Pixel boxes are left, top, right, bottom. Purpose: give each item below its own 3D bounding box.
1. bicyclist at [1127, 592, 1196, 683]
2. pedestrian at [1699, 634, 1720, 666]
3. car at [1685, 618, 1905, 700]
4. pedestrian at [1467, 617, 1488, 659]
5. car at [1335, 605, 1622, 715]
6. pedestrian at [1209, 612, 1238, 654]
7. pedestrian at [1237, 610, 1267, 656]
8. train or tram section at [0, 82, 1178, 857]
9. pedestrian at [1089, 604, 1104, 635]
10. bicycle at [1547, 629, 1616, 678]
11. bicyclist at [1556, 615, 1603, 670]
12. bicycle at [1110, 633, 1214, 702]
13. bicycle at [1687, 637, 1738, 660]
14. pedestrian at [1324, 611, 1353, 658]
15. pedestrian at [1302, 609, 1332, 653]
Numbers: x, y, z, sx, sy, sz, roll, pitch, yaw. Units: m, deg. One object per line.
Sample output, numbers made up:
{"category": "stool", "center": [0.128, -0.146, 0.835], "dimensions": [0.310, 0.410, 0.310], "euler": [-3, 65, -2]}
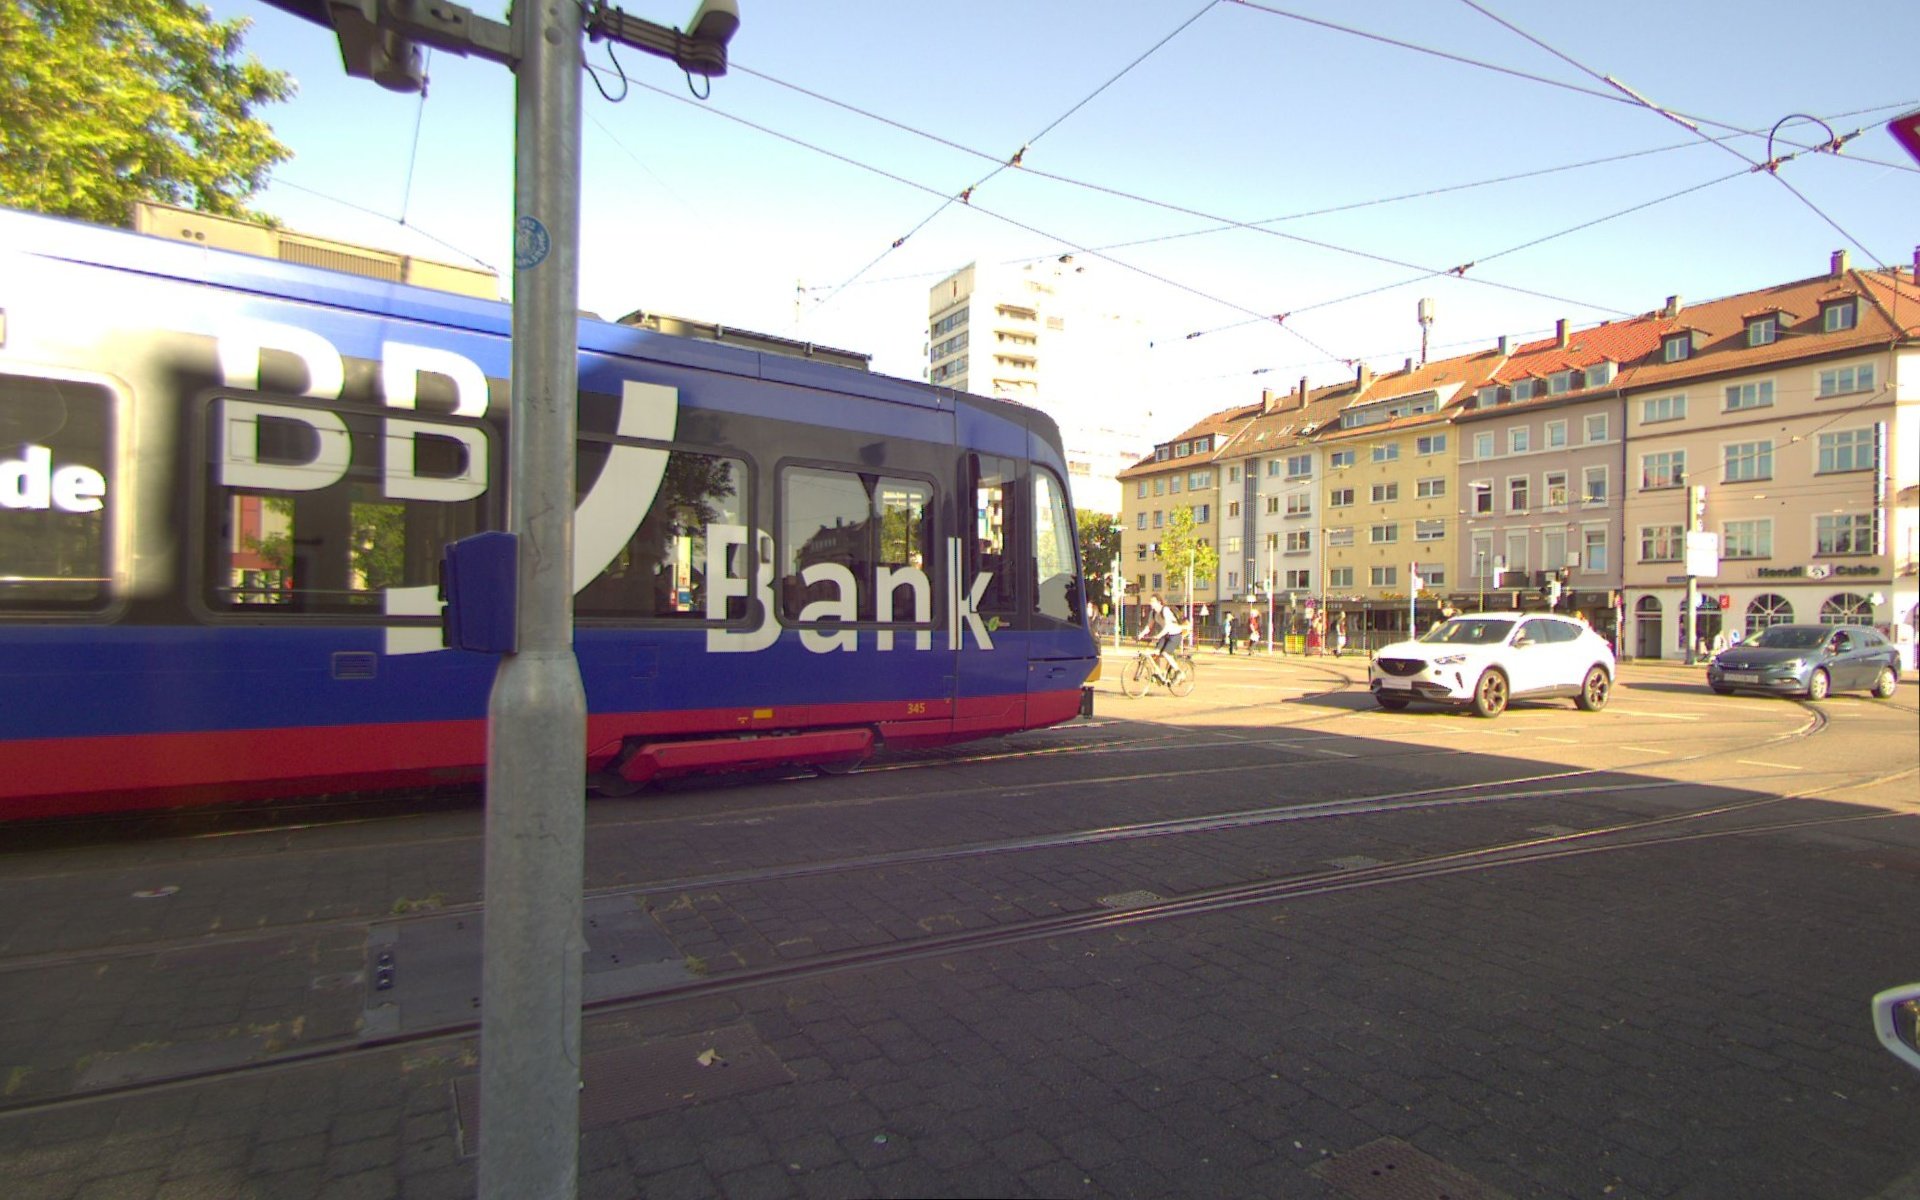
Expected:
{"category": "bicyclist", "center": [3.626, 0.673, 18.077], "dimensions": [0.975, 1.580, 0.711], "euler": [1, -1, -30]}
{"category": "pedestrian", "center": [35.997, 2.398, 48.237], "dimensions": [0.688, 1.544, 0.653], "euler": [1, -1, -35]}
{"category": "car", "center": [16.977, 1.149, 20.393], "dimensions": [4.513, 1.517, 1.768], "euler": [1, -1, -26]}
{"category": "pedestrian", "center": [20.353, 1.487, 39.469], "dimensions": [0.714, 1.648, 0.670], "euler": [0, -1, 28]}
{"category": "car", "center": [8.148, 0.876, 15.731], "dimensions": [4.294, 1.517, 1.985], "euler": [1, -1, -29]}
{"category": "pedestrian", "center": [10.493, 1.309, 40.031], "dimensions": [0.794, 1.652, 0.863], "euler": [1, -1, -12]}
{"category": "pedestrian", "center": [11.369, 1.283, 39.163], "dimensions": [0.833, 1.746, 0.824], "euler": [1, -1, -8]}
{"category": "train or tram section", "center": [-3.548, -0.555, 7.413], "dimensions": [12.003, 3.661, 3.033], "euler": [2, -1, -37]}
{"category": "pedestrian", "center": [7.176, 1.043, 52.743], "dimensions": [0.585, 1.589, 0.730], "euler": [1, -1, -9]}
{"category": "bicycle", "center": [15.649, 1.340, 25.280], "dimensions": [1.931, 1.181, 0.484], "euler": [1, -1, -24]}
{"category": "bicyclist", "center": [15.556, 1.058, 25.221], "dimensions": [0.885, 1.357, 0.602], "euler": [1, -1, -23]}
{"category": "bicycle", "center": [3.646, 1.191, 18.067], "dimensions": [2.032, 1.181, 0.483], "euler": [1, -1, -31]}
{"category": "bicycle", "center": [37.631, 2.396, 50.250], "dimensions": [0.578, 1.081, 1.929], "euler": [1, -1, -36]}
{"category": "pedestrian", "center": [14.264, 1.297, 37.881], "dimensions": [0.647, 1.756, 0.794], "euler": [1, -1, -33]}
{"category": "pedestrian", "center": [14.397, 1.241, 40.496], "dimensions": [0.779, 1.756, 0.817], "euler": [1, -1, -29]}
